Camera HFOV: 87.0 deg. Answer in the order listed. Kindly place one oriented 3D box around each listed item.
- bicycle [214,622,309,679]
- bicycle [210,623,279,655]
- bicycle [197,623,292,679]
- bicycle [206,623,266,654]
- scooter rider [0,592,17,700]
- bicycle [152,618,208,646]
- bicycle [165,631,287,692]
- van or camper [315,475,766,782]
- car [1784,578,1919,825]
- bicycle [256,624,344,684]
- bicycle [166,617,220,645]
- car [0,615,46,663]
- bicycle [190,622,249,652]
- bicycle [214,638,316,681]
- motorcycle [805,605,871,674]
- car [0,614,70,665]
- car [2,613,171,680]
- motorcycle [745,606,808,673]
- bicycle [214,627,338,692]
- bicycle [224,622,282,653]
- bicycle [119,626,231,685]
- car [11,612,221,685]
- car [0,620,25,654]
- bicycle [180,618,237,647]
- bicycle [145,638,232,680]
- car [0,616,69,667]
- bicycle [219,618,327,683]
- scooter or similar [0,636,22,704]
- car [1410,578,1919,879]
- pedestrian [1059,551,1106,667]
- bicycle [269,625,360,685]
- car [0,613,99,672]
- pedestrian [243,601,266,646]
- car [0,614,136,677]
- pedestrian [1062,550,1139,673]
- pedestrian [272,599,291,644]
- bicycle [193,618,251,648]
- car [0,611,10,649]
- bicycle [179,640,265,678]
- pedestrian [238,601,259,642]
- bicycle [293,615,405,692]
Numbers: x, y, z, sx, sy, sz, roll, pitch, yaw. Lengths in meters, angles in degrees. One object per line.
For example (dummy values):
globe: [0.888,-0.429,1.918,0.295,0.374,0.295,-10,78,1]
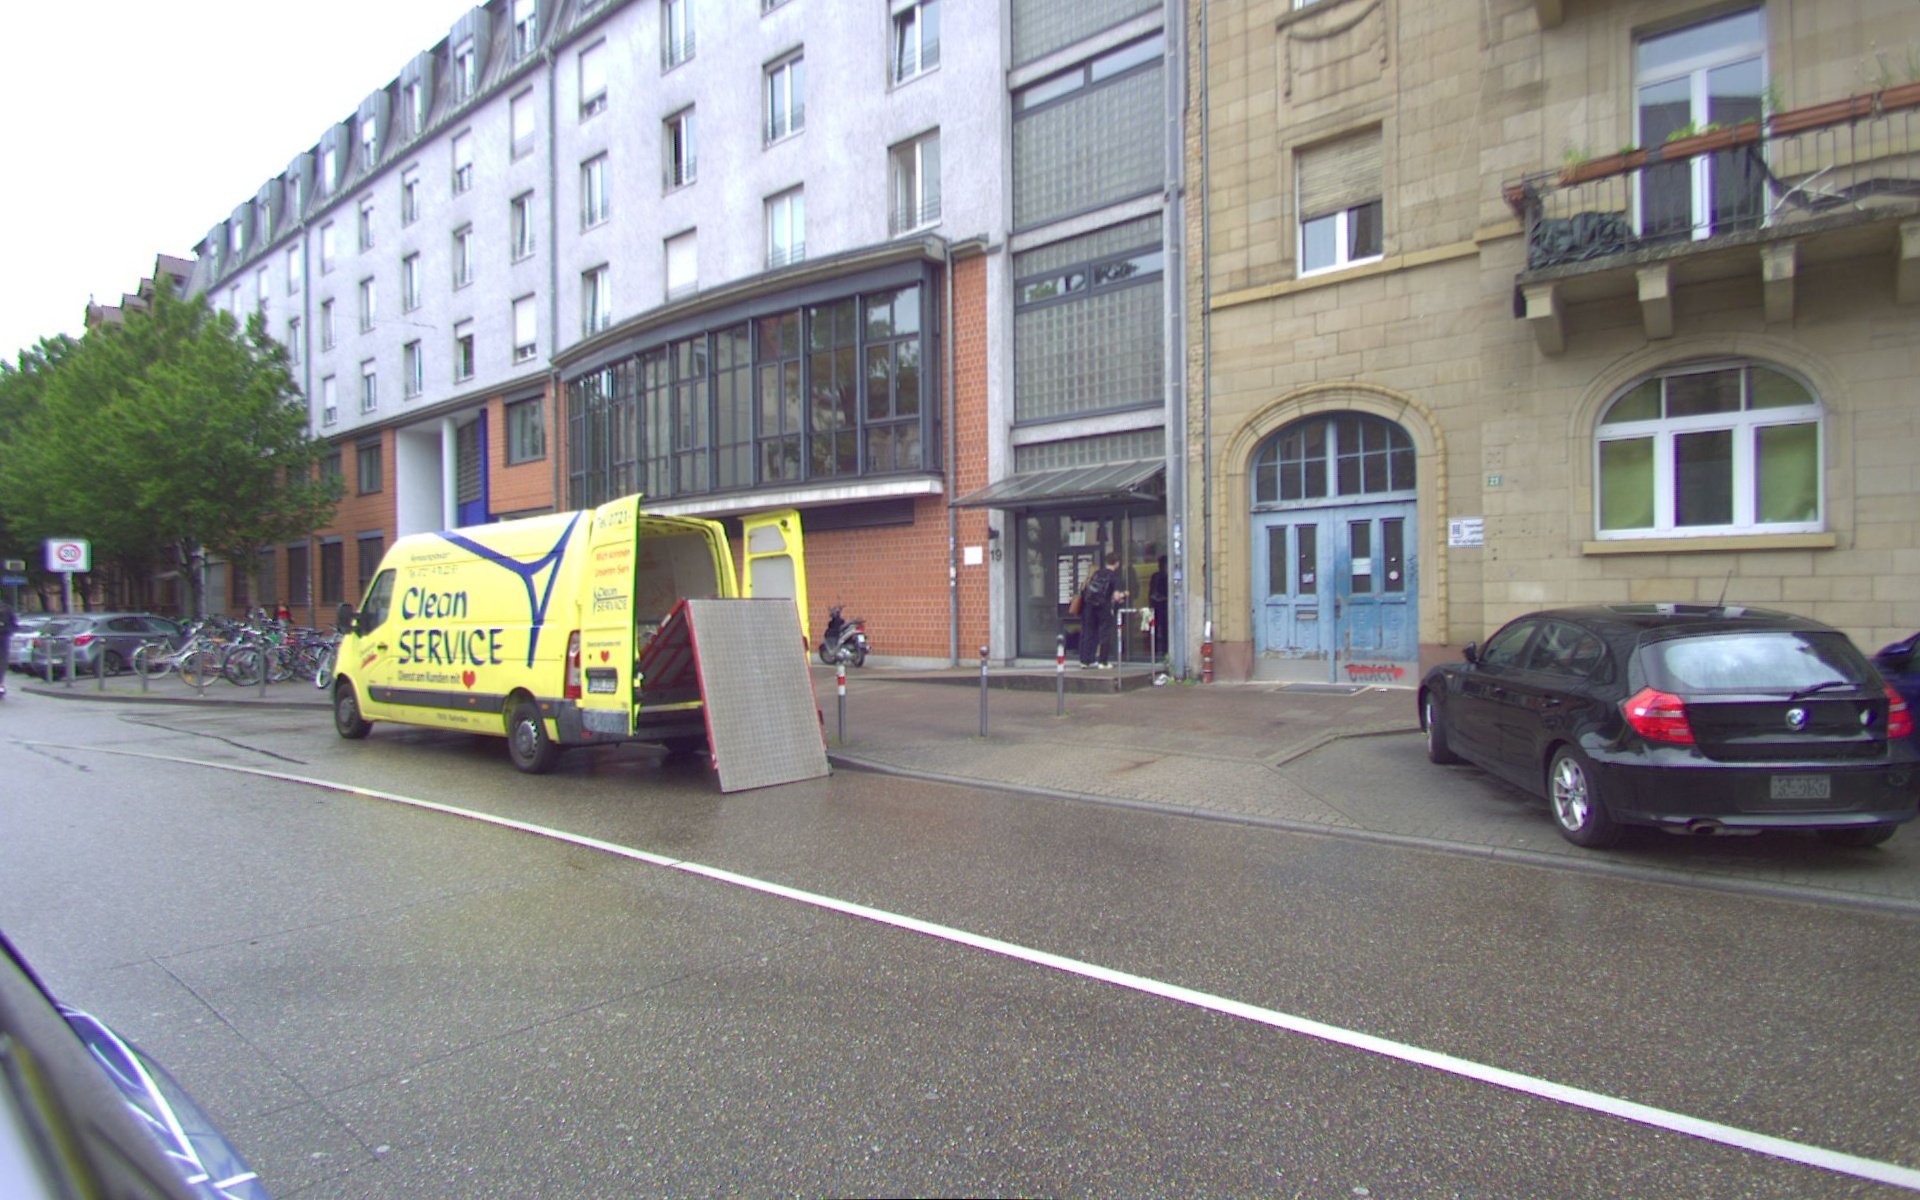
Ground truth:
bicycle: [-14.934,1.063,21.675,0.517,1.114,1.596,-1,1,27]
bicycle: [-23.384,1.251,33.123,0.444,0.992,1.831,-1,-1,32]
bicycle: [-15.522,1.092,21.978,0.519,1.114,1.591,-1,1,35]
bicycle: [-23.825,1.251,33.334,0.444,0.992,1.573,-1,-1,32]
scooter rider: [-17.593,0.829,18.312,0.503,1.950,0.704,-1,-2,38]
bicycle: [-28.528,1.152,37.025,0.464,0.992,1.573,-1,-1,32]
bicycle: [-13.791,1.136,19.070,0.519,1.000,1.778,-1,1,38]
van or camper: [-4.956,0.302,11.414,5.936,2.631,2.174,-1,-2,40]
car: [6.921,0.638,5.723,1.780,1.585,4.029,-1,-1,11]
bicycle: [-13.275,1.061,20.378,1.439,1.111,0.462,-2,1,-36]
bicycle: [-28.836,1.161,38.051,0.464,0.992,1.573,-1,-1,32]
car: [-33.110,1.354,34.571,1.138,1.567,2.672,-1,0,11]
bicycle: [-25.283,1.254,34.575,0.444,0.992,1.573,-1,-1,32]
bicycle: [-14.500,1.217,21.163,0.455,0.767,1.757,-1,1,27]
motorcycle: [-2.244,0.692,18.487,0.516,1.190,1.763,-1,0,-30]
car: [-30.945,1.286,32.786,1.358,1.567,2.971,-1,0,11]
car: [-22.149,1.144,25.804,1.436,1.514,3.070,-1,0,9]
motorcycle: [-3.525,0.723,19.307,0.516,1.190,2.010,-1,0,-30]
bicycle: [-12.789,1.085,18.965,1.832,1.081,0.610,-2,1,-45]
bicycle: [-23.842,1.261,34.160,0.444,0.992,1.573,-1,-1,32]
bicycle: [-16.599,1.150,21.445,0.472,1.114,1.791,-1,1,35]
car: [-19.850,1.086,23.996,1.720,1.514,3.614,0,0,9]
car: [-43.501,1.630,44.549,1.662,1.502,3.798,0,-1,-10]
bicycle: [-26.578,1.147,35.812,0.464,0.992,1.573,-1,-1,32]
bicycle: [-17.130,1.292,22.491,0.497,0.811,1.454,-1,1,43]
car: [-29.073,1.254,31.118,1.177,1.461,2.502,-1,0,0]
bicycle: [-14.063,1.011,20.774,0.517,1.203,1.798,-1,1,27]
scooter or similar: [-17.531,1.254,18.259,1.383,1.174,0.694,-1,-1,39]
car: [4.743,0.677,7.175,1.778,1.523,4.033,0,-1,8]
pedestrian: [1.900,0.144,15.747,0.467,1.761,0.608,0,-2,-24]
bicycle: [-12.674,1.068,19.890,0.418,1.072,1.442,-1,1,44]
car: [-26.666,1.191,28.961,1.432,1.564,3.078,-1,0,0]
pedestrian: [-25.409,0.843,36.462,0.372,1.622,0.598,-1,-1,39]
car: [-24.249,1.186,27.357,1.432,1.514,3.078,-1,0,0]
pedestrian: [2.100,0.168,15.042,0.785,1.741,0.997,-1,-1,31]
pedestrian: [-24.752,0.795,36.925,0.425,1.622,0.508,-1,-1,41]
bicycle: [-25.620,1.145,35.142,0.444,0.992,1.573,-1,-1,32]
car: [-48.716,1.470,48.835,1.666,1.910,4.330,0,-1,-1]
bicycle: [-16.350,1.288,22.445,0.497,0.727,1.454,-1,1,43]
pedestrian: [-27.867,0.847,39.659,0.533,1.609,0.564,-1,-1,41]
bicycle: [-11.217,0.947,18.658,0.760,1.225,1.917,0,3,5]
